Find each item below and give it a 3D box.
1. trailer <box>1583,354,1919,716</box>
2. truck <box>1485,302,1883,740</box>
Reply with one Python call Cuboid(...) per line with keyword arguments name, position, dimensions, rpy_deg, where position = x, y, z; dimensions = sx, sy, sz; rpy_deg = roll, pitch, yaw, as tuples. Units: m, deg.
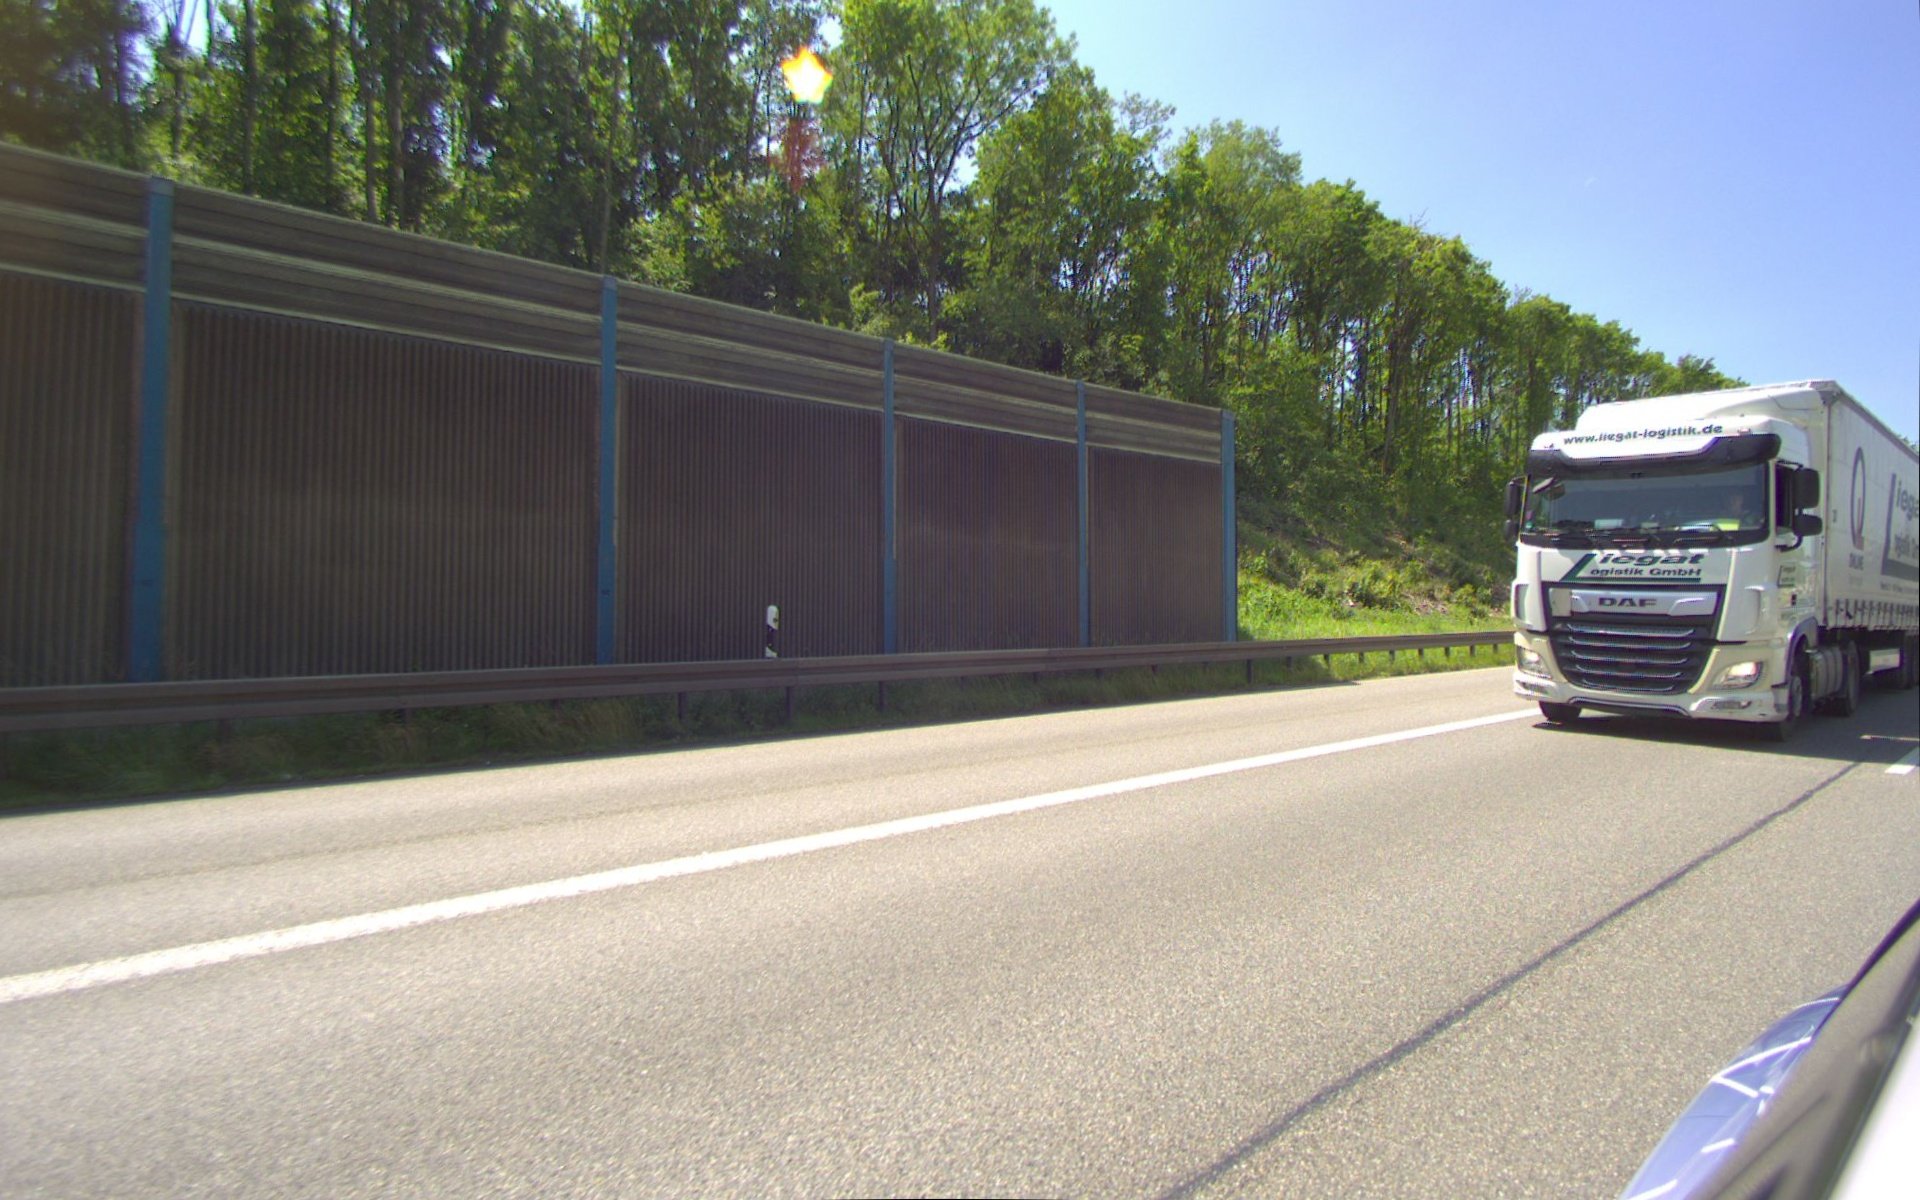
Cuboid(name="trailer", position=(14.478, -0.705, 17.198), dimensions=(13.008, 4.258, 2.791), rpy_deg=(1, 0, -41))
Cuboid(name="truck", position=(9.307, -0.753, 12.778), dimensions=(5.765, 4.258, 2.791), rpy_deg=(1, -1, -40))
